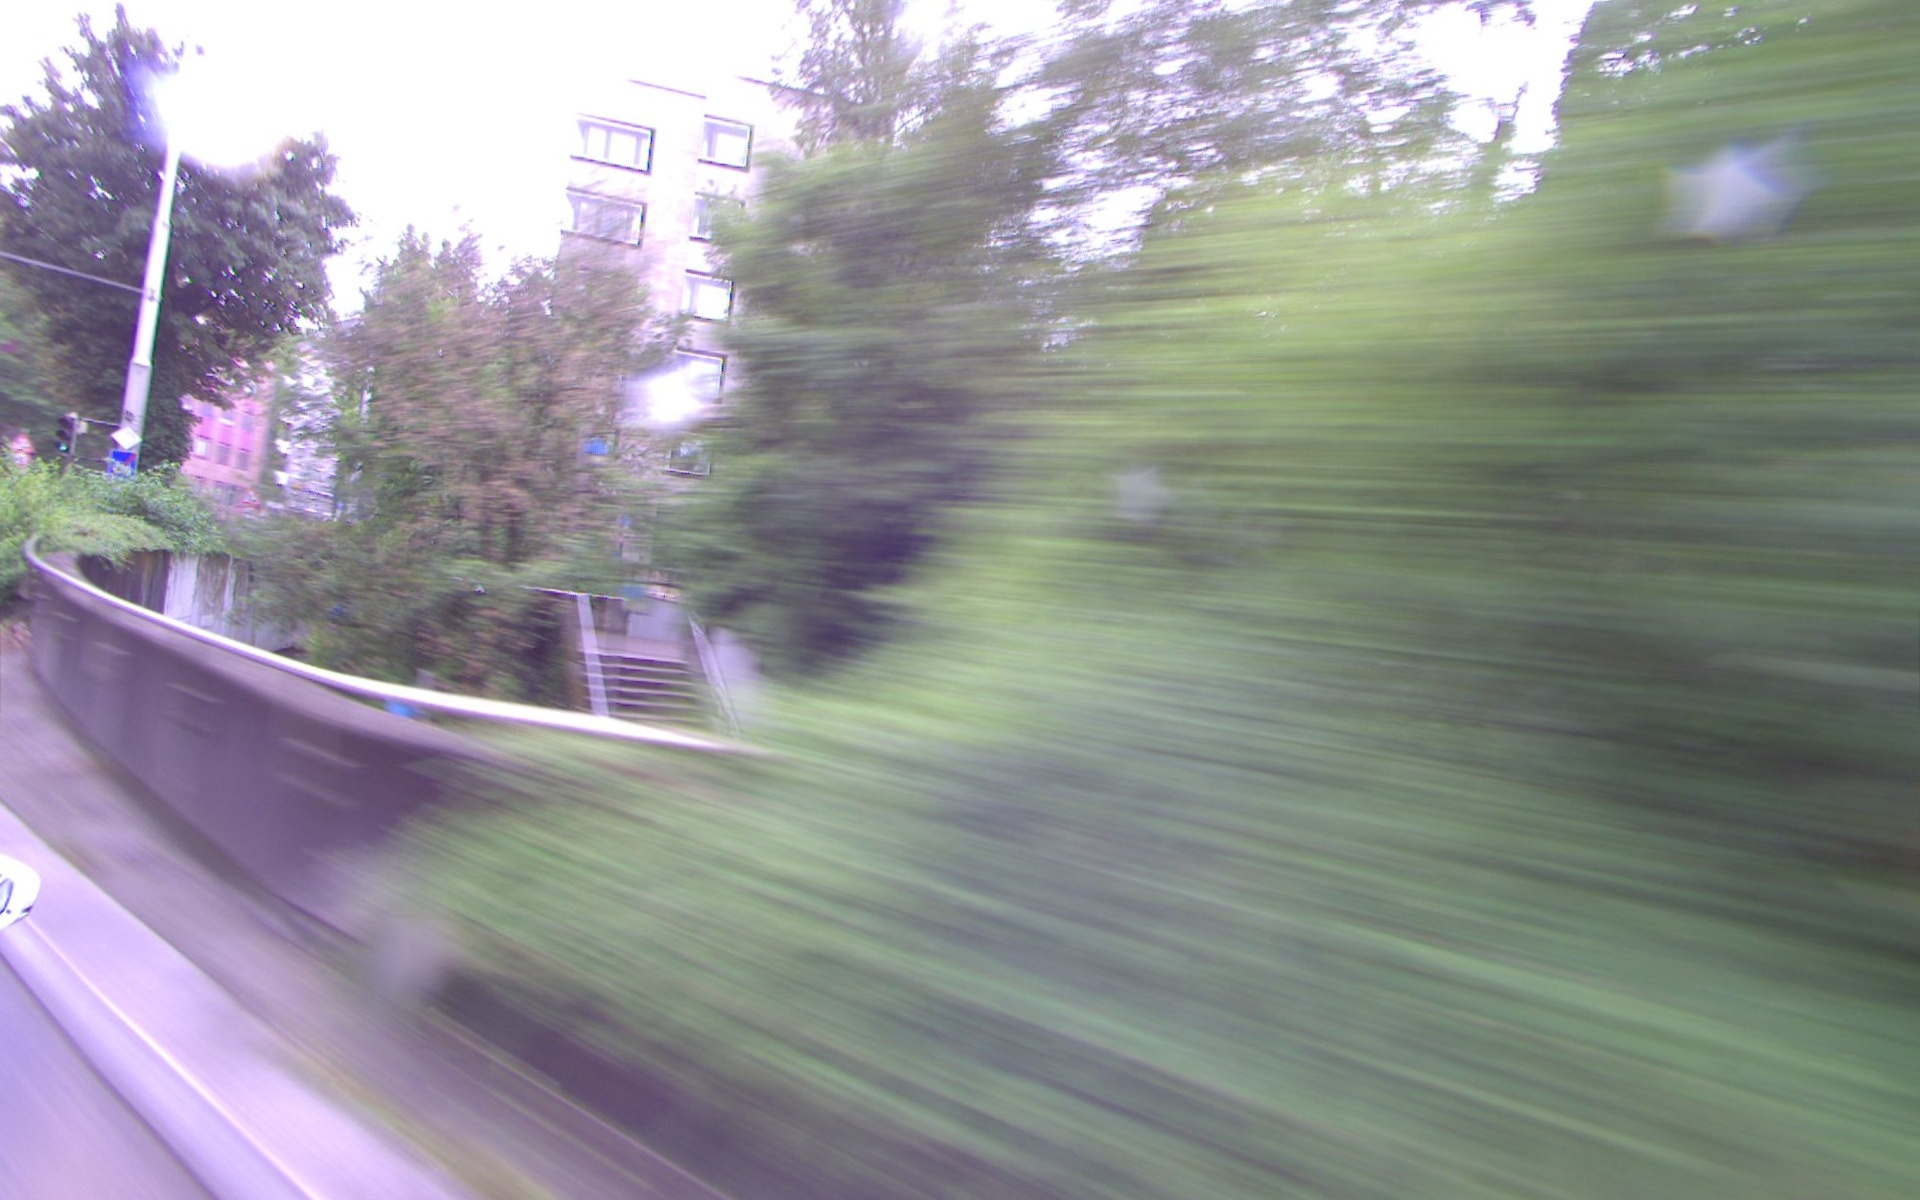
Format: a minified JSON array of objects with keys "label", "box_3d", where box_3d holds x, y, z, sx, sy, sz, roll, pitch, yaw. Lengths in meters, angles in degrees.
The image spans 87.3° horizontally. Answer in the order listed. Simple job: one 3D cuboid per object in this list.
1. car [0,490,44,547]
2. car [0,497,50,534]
[{"label":"car","box_3d":[-27.064,-2.329,27.830,1.947,1.443,4.087,7,-2,-35]},{"label":"car","box_3d":[-46.994,-4.233,49.221,1.795,1.530,4.222,6,-2,-14]}]
